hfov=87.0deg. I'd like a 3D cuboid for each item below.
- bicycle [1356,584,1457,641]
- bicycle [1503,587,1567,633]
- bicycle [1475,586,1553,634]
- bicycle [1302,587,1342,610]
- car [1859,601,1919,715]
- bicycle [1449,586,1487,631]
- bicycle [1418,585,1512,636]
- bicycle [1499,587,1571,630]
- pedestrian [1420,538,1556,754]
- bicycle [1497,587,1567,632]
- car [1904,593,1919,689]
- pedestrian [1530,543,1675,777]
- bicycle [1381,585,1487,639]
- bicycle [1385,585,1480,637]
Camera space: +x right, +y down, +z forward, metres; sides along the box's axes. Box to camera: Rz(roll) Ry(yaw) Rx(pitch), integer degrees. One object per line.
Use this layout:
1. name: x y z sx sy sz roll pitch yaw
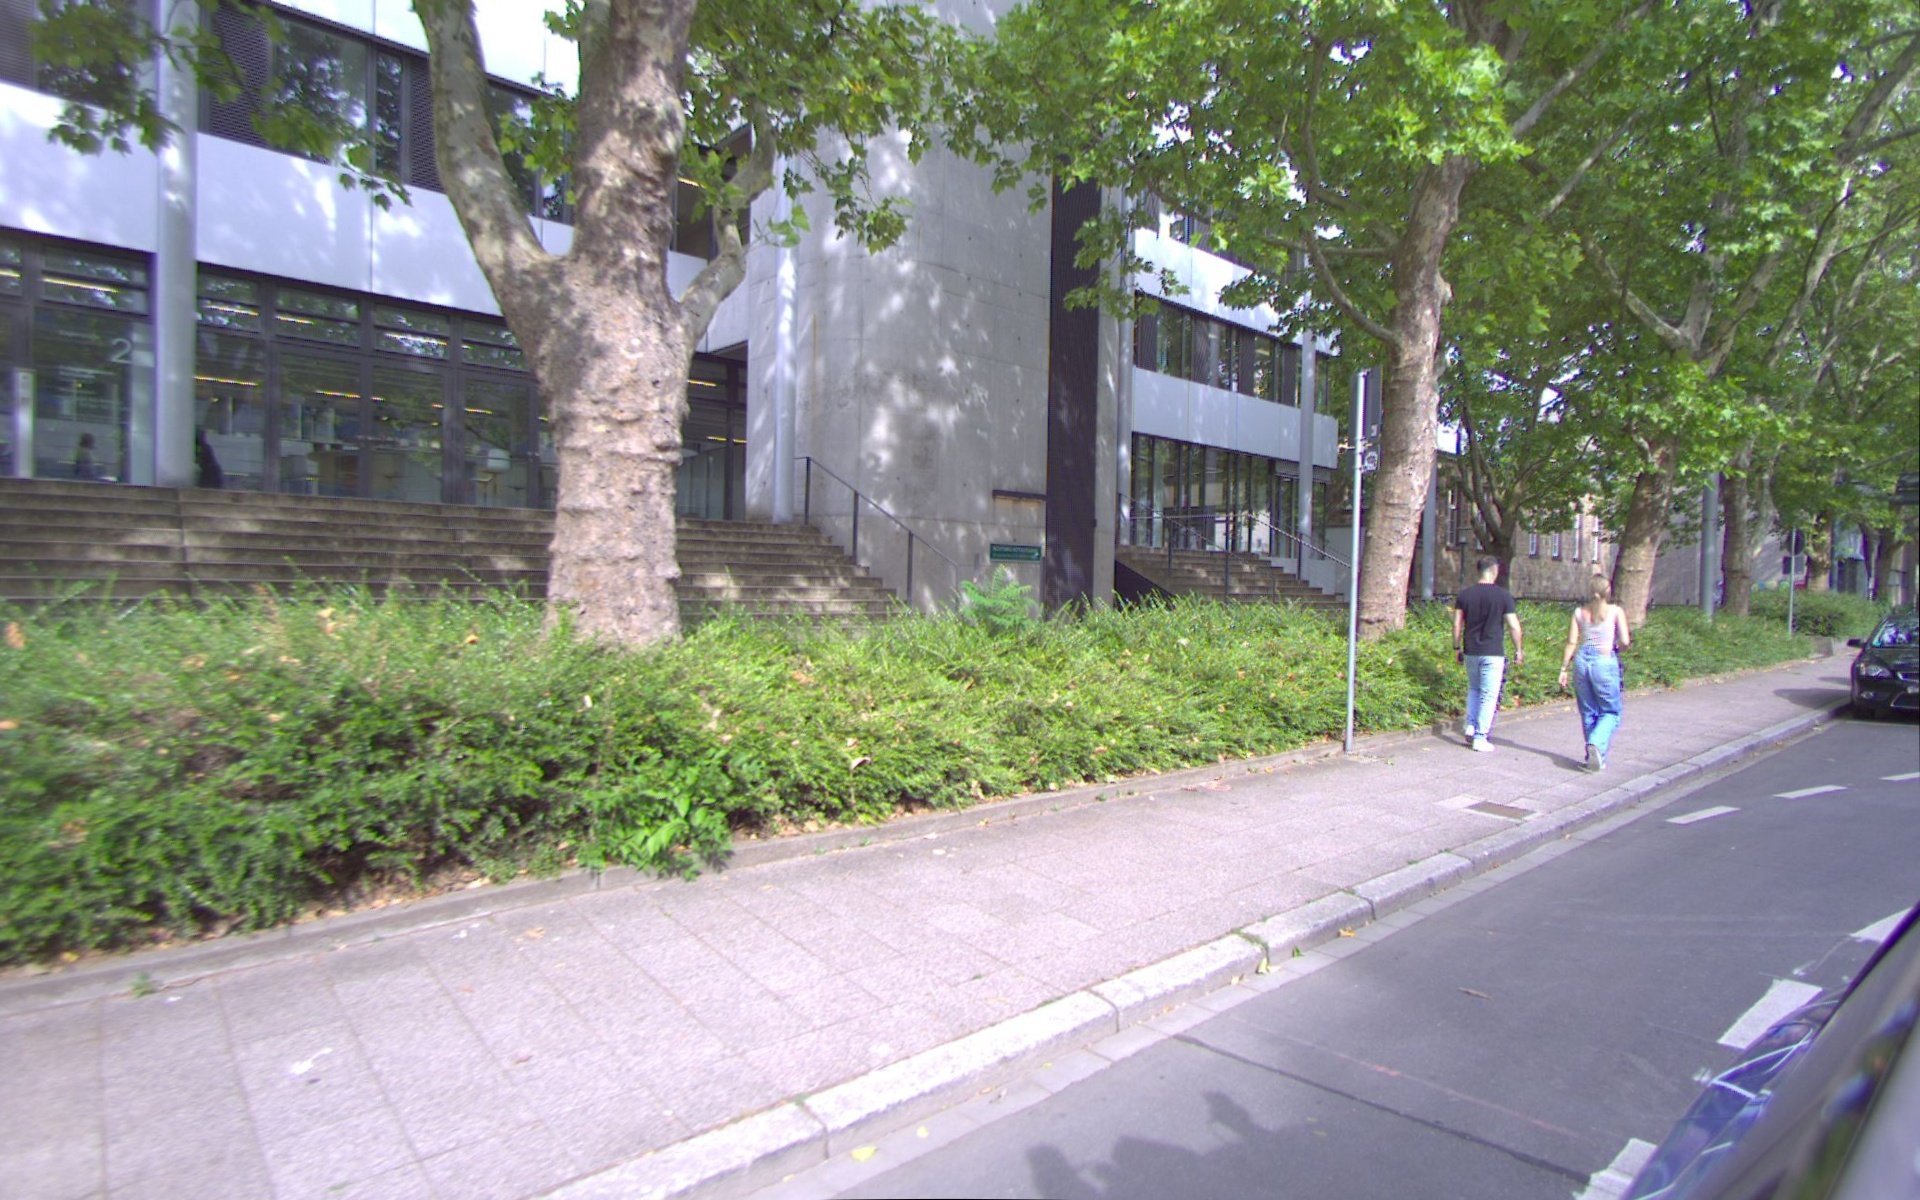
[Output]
1. bicycle: 9.809 0.260 22.305 0.661 1.131 1.919 1 2 -41
2. bicycle: 15.093 0.249 26.582 1.377 1.131 0.461 3 2 42
3. bicycle: 14.160 0.239 25.877 1.686 1.131 0.616 3 2 31
4. bicycle: 15.324 -0.077 42.891 0.499 0.889 1.625 -2 3 -36
5. car: 13.876 0.734 14.107 4.349 1.443 1.699 0 0 -44
6. bicycle: 13.489 0.213 26.844 0.491 1.131 1.415 3 2 43
7. bicycle: 12.252 0.235 24.592 0.661 1.131 1.919 1 2 -41
8. bicycle: 16.410 0.220 28.896 1.674 1.131 0.595 3 2 43
9. pedestrian: 4.784 0.371 9.158 1.016 1.822 0.716 0 3 -42
10. bicycle: 15.269 0.242 27.047 1.538 1.131 0.461 3 2 42
11. car: 17.028 0.668 16.875 2.552 1.563 1.539 0 0 -39
12. pedestrian: 5.371 0.449 8.457 1.016 1.805 0.712 0 3 -42
13. bicycle: 10.807 0.251 23.159 0.661 1.131 2.083 1 2 -41
14. bicycle: 11.274 0.237 24.188 0.661 1.131 1.919 1 2 -41
